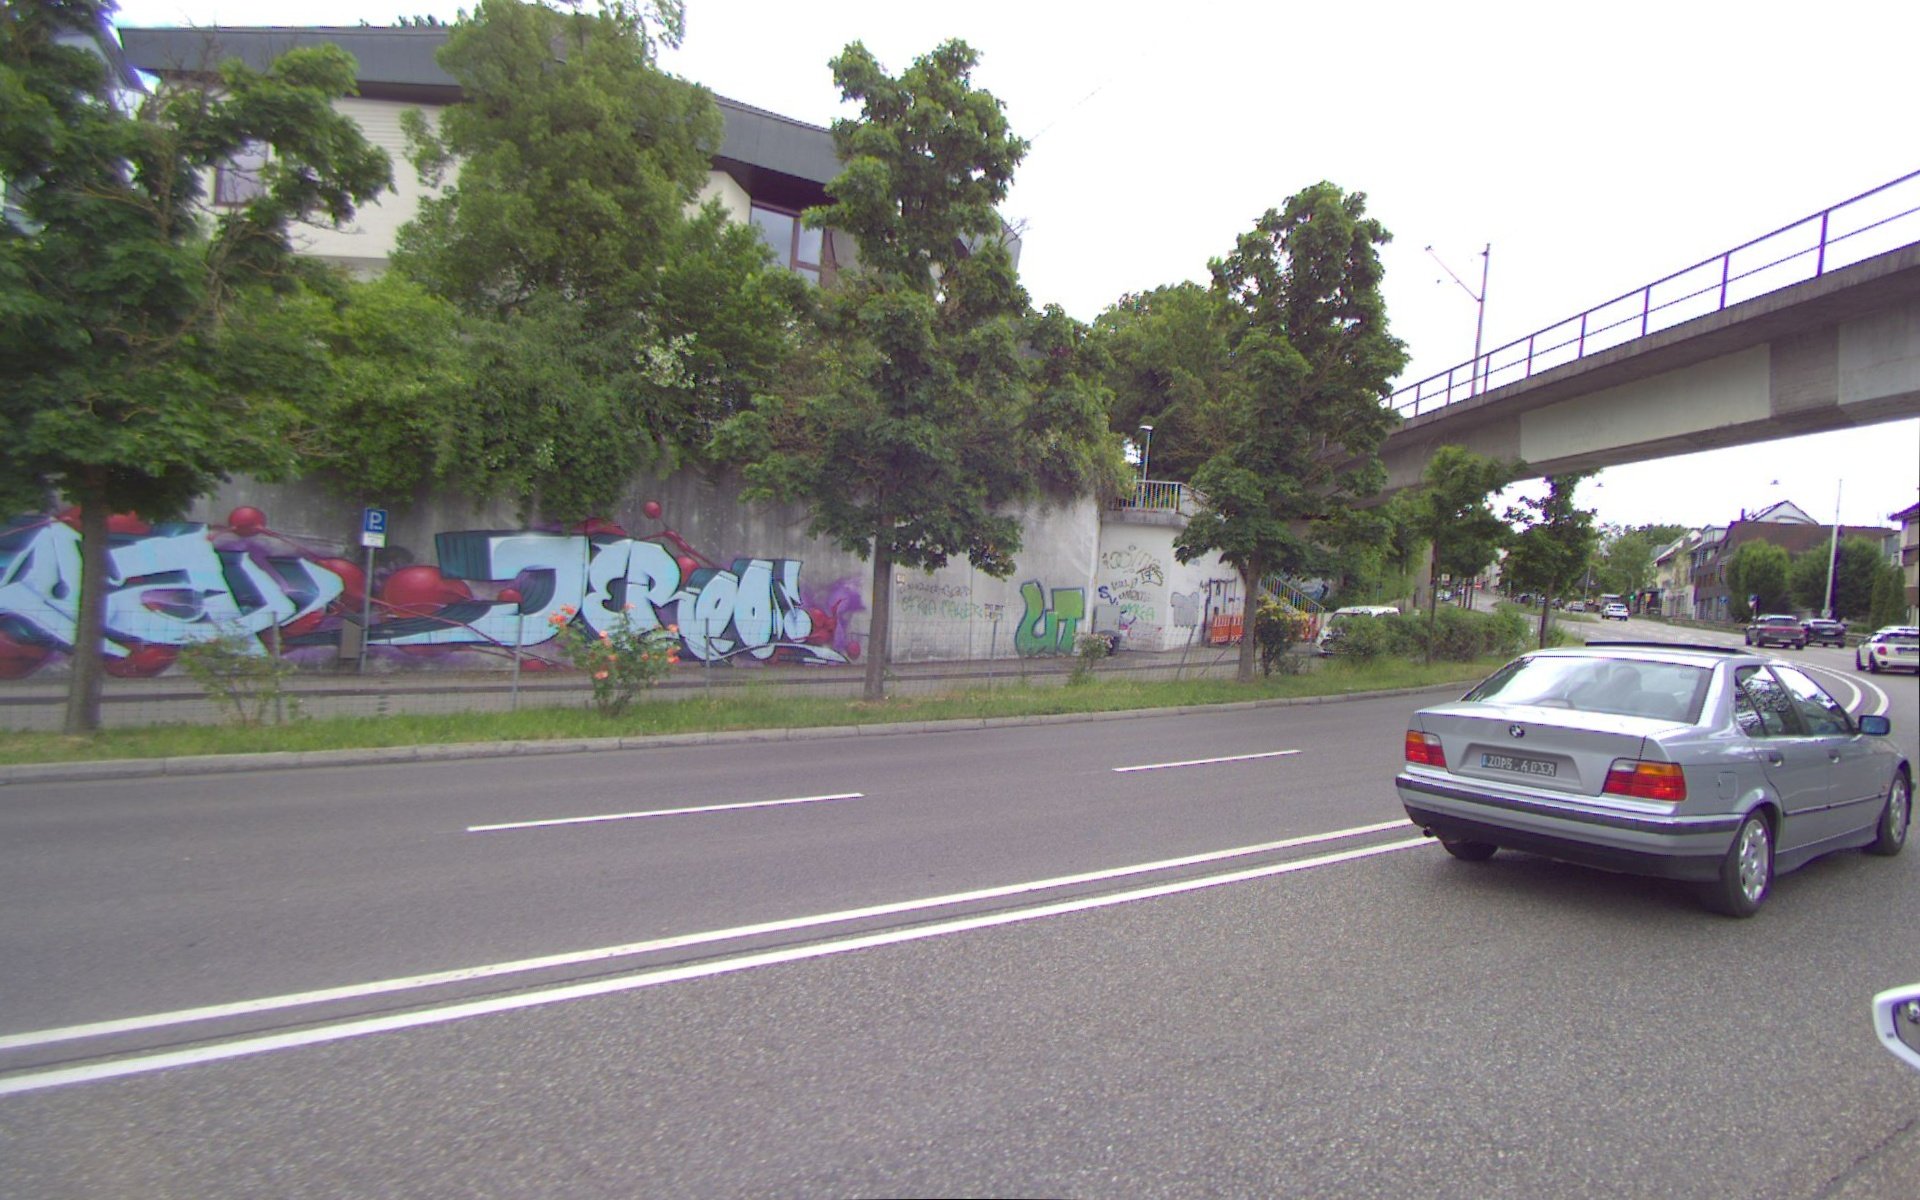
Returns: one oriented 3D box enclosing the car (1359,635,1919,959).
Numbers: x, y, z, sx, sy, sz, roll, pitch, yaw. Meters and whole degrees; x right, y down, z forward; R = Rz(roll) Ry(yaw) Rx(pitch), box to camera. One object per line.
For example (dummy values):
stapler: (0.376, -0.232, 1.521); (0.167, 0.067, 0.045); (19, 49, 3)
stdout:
car: (4.711, 0.971, 6.422); (4.568, 1.401, 1.626); (2, -1, -32)

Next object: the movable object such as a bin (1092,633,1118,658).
movable object such as a bin: (4.305, 1.347, 29.865); (0.549, 0.649, 0.580); (6, 5, 29)

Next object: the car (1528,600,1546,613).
car: (79.091, 0.904, 137.742); (1.695, 1.604, 3.455); (2, 0, 23)

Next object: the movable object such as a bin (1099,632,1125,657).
movable object such as a bin: (4.611, 1.346, 30.438); (0.549, 0.649, 0.580); (6, 5, 29)

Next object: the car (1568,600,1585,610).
car: (89.140, 0.769, 145.228); (1.695, 1.394, 3.454); (2, 0, 24)

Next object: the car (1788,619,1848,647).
car: (47.508, 1.797, 55.704); (1.696, 1.394, 3.452); (2, 0, 26)

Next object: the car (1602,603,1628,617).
car: (67.889, 1.027, 104.160); (1.695, 1.394, 3.454); (2, 0, 24)

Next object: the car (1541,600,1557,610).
car: (86.790, 0.675, 148.021); (1.695, 1.394, 3.454); (2, 0, 24)

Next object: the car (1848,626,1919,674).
car: (30.663, 1.611, 33.009); (1.699, 1.394, 3.446); (2, 1, 34)

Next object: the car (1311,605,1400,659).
car: (14.215, 1.117, 35.976); (1.745, 1.809, 4.446); (0, -1, 38)

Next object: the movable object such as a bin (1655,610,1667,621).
movable object such as a bin: (97.476, 2.126, 139.659); (1.177, 1.427, 0.710); (6, 4, 25)

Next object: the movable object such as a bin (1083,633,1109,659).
movable object such as a bin: (3.956, 1.332, 29.188); (0.549, 0.649, 0.580); (6, 5, 29)

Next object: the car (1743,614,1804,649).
car: (41.475, 1.567, 51.279); (1.696, 1.662, 3.452); (2, 1, 27)

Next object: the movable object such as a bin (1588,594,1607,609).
movable object such as a bin: (92.276, 0.224, 145.381); (1.860, 1.895, 1.528); (6, 4, 17)

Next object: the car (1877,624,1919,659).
car: (41.188, 1.782, 43.324); (1.697, 1.394, 3.450); (2, 1, 30)
